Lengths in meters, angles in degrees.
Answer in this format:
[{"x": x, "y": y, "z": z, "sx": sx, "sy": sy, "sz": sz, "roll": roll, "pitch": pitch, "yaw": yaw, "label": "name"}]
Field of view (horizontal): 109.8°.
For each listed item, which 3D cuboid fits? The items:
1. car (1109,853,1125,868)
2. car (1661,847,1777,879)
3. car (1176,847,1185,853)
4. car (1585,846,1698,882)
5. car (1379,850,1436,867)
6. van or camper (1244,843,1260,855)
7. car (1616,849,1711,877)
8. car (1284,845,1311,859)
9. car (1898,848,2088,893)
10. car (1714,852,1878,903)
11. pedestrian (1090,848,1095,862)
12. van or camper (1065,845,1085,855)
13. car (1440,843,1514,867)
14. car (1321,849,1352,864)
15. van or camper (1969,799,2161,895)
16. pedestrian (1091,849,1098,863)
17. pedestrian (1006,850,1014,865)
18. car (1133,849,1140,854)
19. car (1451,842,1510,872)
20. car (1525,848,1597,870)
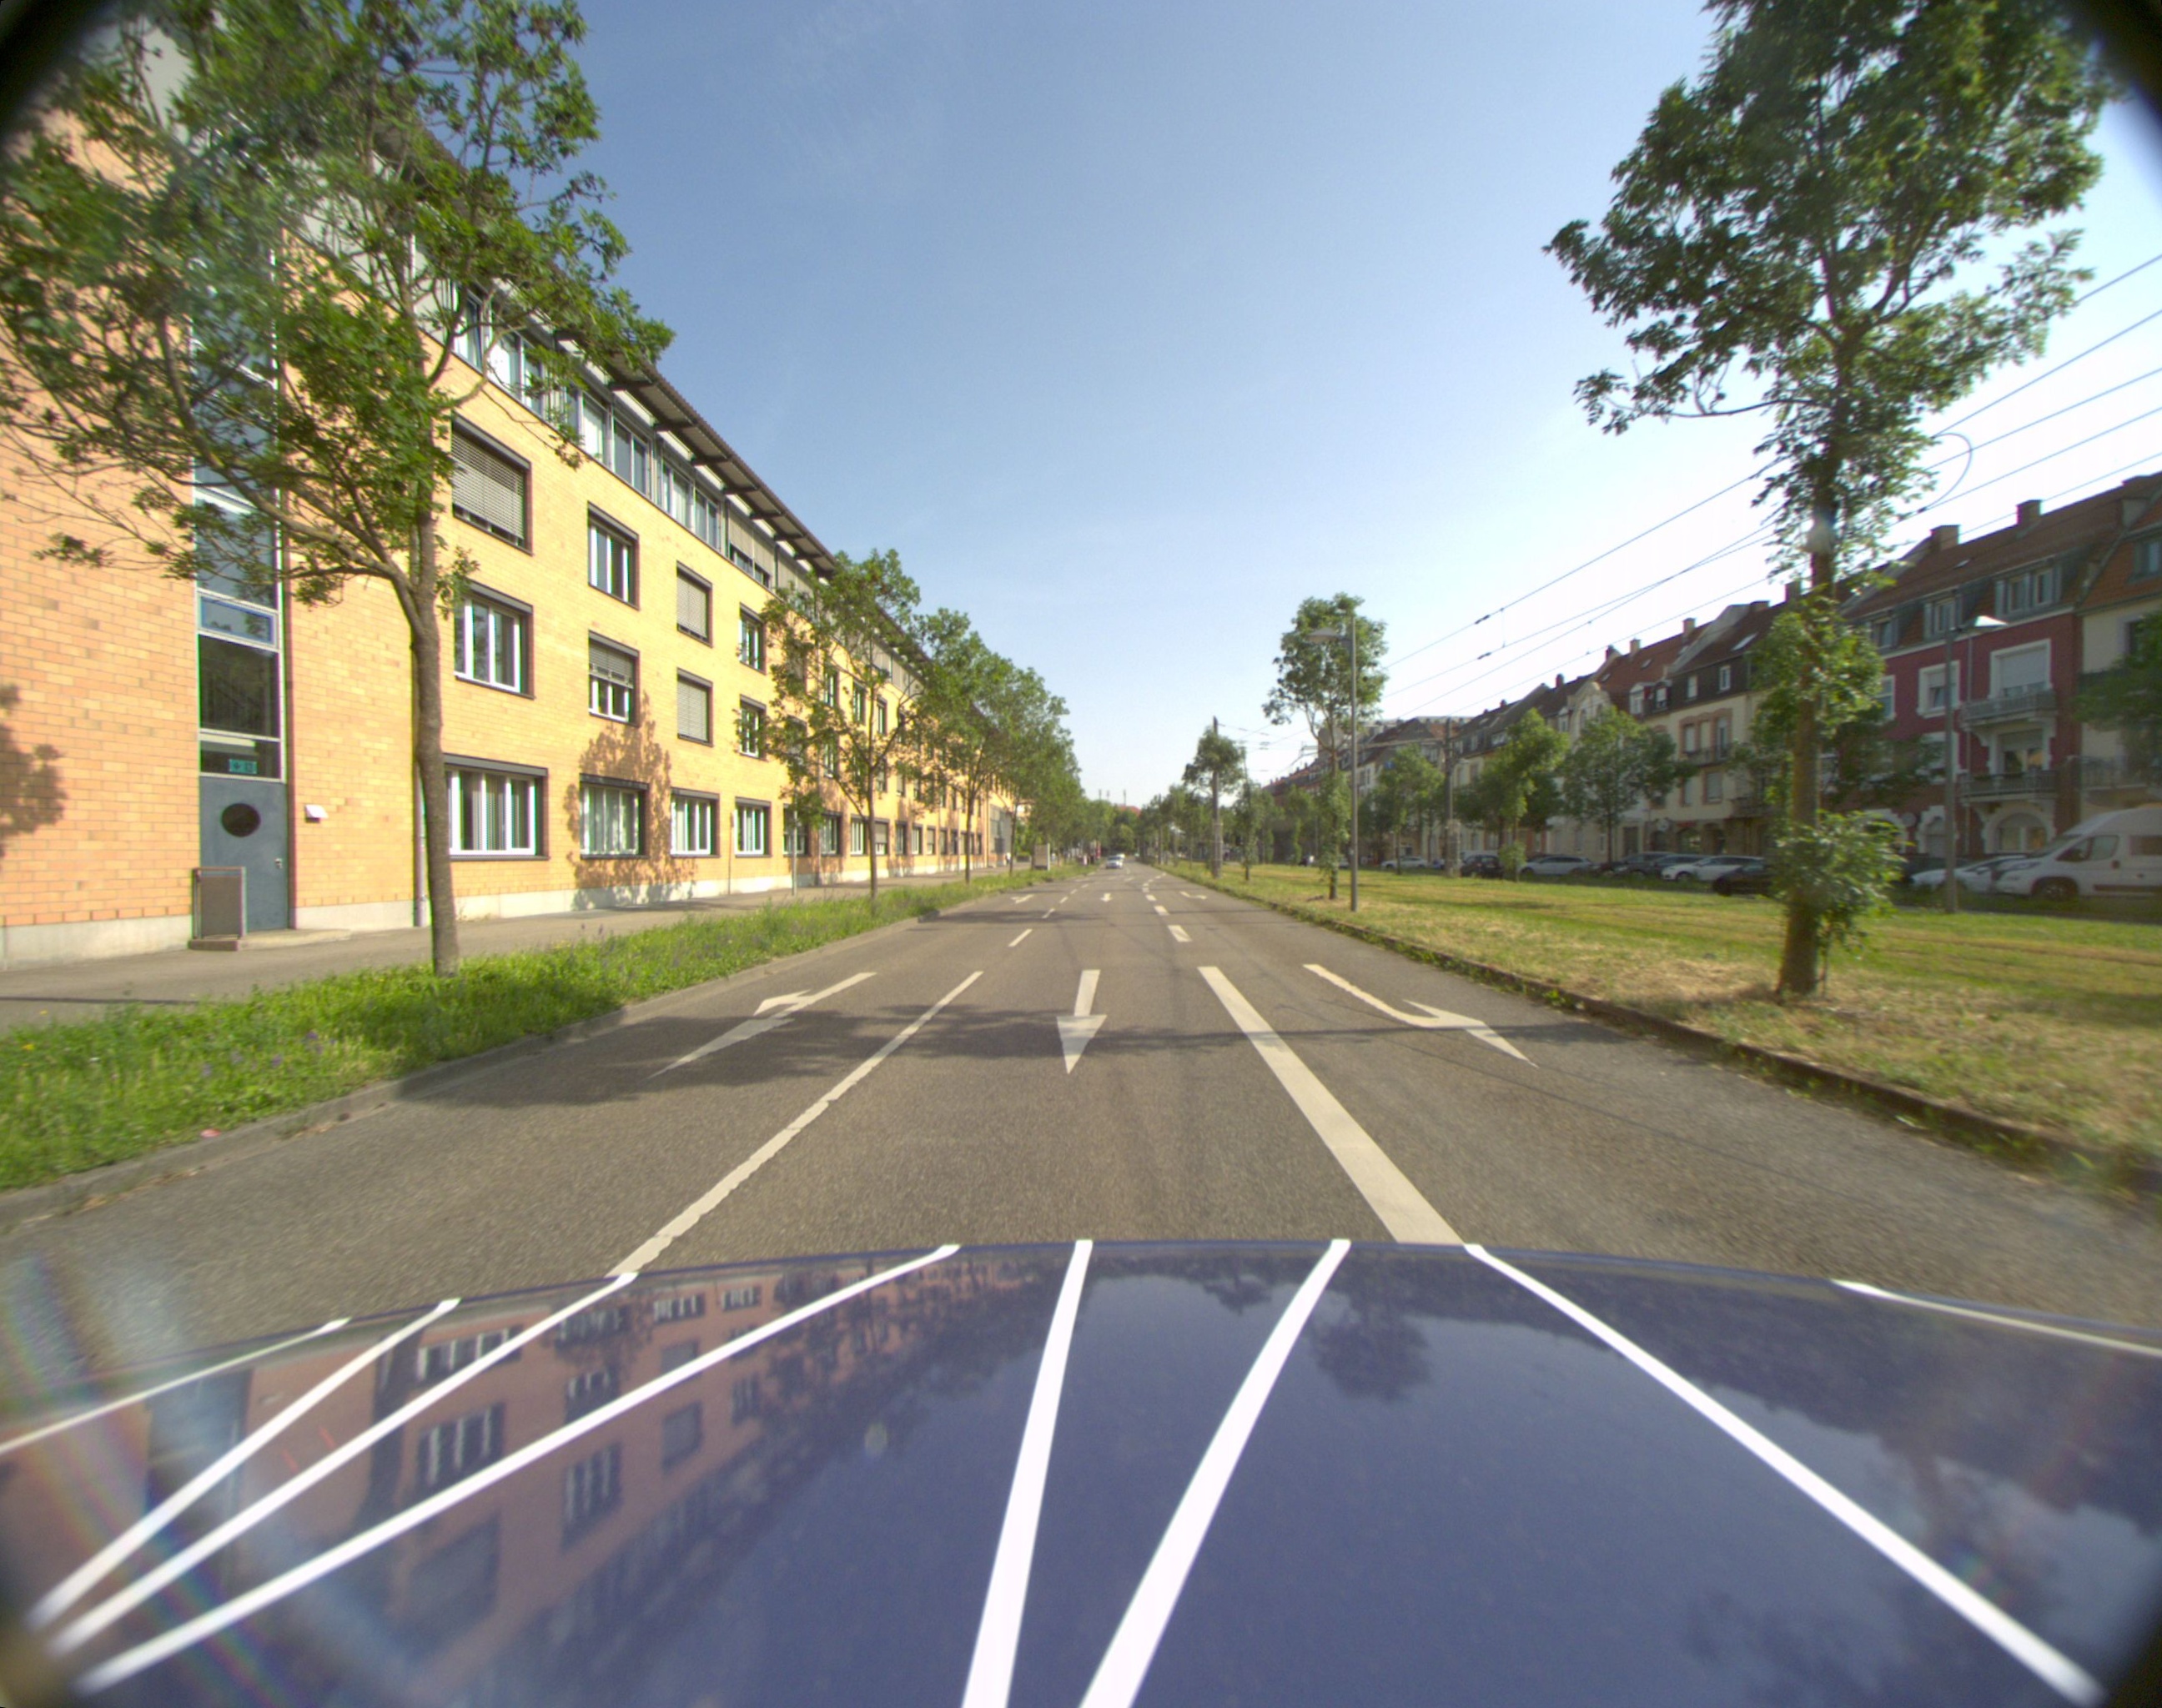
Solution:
[{"x": 3.858, "y": 0.662, "z": 82.579, "sx": 1.629, "sy": 1.476, "sz": 3.366, "roll": -3, "pitch": 1, "yaw": 1, "label": "car"}, {"x": 29.147, "y": 0.409, "z": 34.873, "sx": 4.004, "sy": 1.309, "sz": 1.665, "roll": -2, "pitch": 1, "yaw": 37, "label": "car"}, {"x": 30.281, "y": -1.117, "z": 231.425, "sx": 2.131, "sy": 1.608, "sz": 5.280, "roll": -3, "pitch": 1, "yaw": 4, "label": "car"}, {"x": 30.034, "y": 0.534, "z": 40.913, "sx": 4.637, "sy": 1.733, "sz": 1.836, "roll": -2, "pitch": 1, "yaw": 27, "label": "car"}, {"x": 31.659, "y": 0.428, "z": 73.727, "sx": 4.765, "sy": 1.477, "sz": 2.026, "roll": -2, "pitch": 1, "yaw": 35, "label": "car"}, {"x": 32.233, "y": -0.887, "z": 143.344, "sx": 1.956, "sy": 2.085, "sz": 5.353, "roll": -3, "pitch": 1, "yaw": 2, "label": "van or camper"}, {"x": 28.990, "y": 0.453, "z": 37.936, "sx": 3.677, "sy": 1.234, "sz": 1.665, "roll": -2, "pitch": 1, "yaw": 37, "label": "car"}, {"x": 27.006, "y": -0.271, "z": 94.865, "sx": 1.998, "sy": 1.621, "sz": 5.380, "roll": -3, "pitch": 1, "yaw": 3, "label": "car"}, {"x": 29.511, "y": 0.540, "z": 24.774, "sx": 3.677, "sy": 1.324, "sz": 1.665, "roll": -2, "pitch": 1, "yaw": 37, "label": "car"}, {"x": 23.573, "y": 0.721, "z": 25.265, "sx": 1.816, "sy": 1.425, "sz": 3.926, "roll": -3, "pitch": 1, "yaw": 2, "label": "car"}, {"x": 1.400, "y": 0.125, "z": 93.018, "sx": 0.636, "sy": 1.637, "sz": 0.609, "roll": 1, "pitch": 1, "yaw": -1, "label": "pedestrian"}, {"x": -1.823, "y": -1.168, "z": 221.680, "sx": 5.800, "sy": 2.678, "sz": 2.408, "roll": -2, "pitch": 1, "yaw": 0, "label": "van or camper"}, {"x": 31.504, "y": 0.118, "z": 60.580, "sx": 4.938, "sy": 1.716, "sz": 1.860, "roll": -2, "pitch": 1, "yaw": 37, "label": "car"}, {"x": 26.420, "y": 0.233, "z": 78.794, "sx": 1.952, "sy": 1.451, "sz": 4.649, "roll": -3, "pitch": 1, "yaw": 5, "label": "car"}, {"x": 29.563, "y": -0.228, "z": 21.180, "sx": 5.910, "sy": 2.559, "sz": 2.203, "roll": -2, "pitch": 1, "yaw": 37, "label": "van or camper"}, {"x": 1.626, "y": 0.243, "z": 91.730, "sx": 0.707, "sy": 1.637, "sz": 0.689, "roll": 1, "pitch": 1, "yaw": 1, "label": "pedestrian"}, {"x": -7.635, "y": 0.393, "z": 81.624, "sx": 0.697, "sy": 1.647, "sz": 0.773, "roll": 1, "pitch": 2, "yaw": 3, "label": "pedestrian"}, {"x": 15.069, "y": -0.683, "z": 205.396, "sx": 1.692, "sy": 1.476, "sz": 3.366, "roll": -3, "pitch": 1, "yaw": 1, "label": "car"}, {"x": 24.693, "y": 0.144, "z": 47.095, "sx": 1.768, "sy": 1.646, "sz": 4.001, "roll": -3, "pitch": 1, "yaw": 5, "label": "car"}, {"x": 30.093, "y": 0.337, "z": 47.651, "sx": 3.677, "sy": 1.234, "sz": 1.665, "roll": -2, "pitch": 1, "yaw": 37, "label": "car"}]
